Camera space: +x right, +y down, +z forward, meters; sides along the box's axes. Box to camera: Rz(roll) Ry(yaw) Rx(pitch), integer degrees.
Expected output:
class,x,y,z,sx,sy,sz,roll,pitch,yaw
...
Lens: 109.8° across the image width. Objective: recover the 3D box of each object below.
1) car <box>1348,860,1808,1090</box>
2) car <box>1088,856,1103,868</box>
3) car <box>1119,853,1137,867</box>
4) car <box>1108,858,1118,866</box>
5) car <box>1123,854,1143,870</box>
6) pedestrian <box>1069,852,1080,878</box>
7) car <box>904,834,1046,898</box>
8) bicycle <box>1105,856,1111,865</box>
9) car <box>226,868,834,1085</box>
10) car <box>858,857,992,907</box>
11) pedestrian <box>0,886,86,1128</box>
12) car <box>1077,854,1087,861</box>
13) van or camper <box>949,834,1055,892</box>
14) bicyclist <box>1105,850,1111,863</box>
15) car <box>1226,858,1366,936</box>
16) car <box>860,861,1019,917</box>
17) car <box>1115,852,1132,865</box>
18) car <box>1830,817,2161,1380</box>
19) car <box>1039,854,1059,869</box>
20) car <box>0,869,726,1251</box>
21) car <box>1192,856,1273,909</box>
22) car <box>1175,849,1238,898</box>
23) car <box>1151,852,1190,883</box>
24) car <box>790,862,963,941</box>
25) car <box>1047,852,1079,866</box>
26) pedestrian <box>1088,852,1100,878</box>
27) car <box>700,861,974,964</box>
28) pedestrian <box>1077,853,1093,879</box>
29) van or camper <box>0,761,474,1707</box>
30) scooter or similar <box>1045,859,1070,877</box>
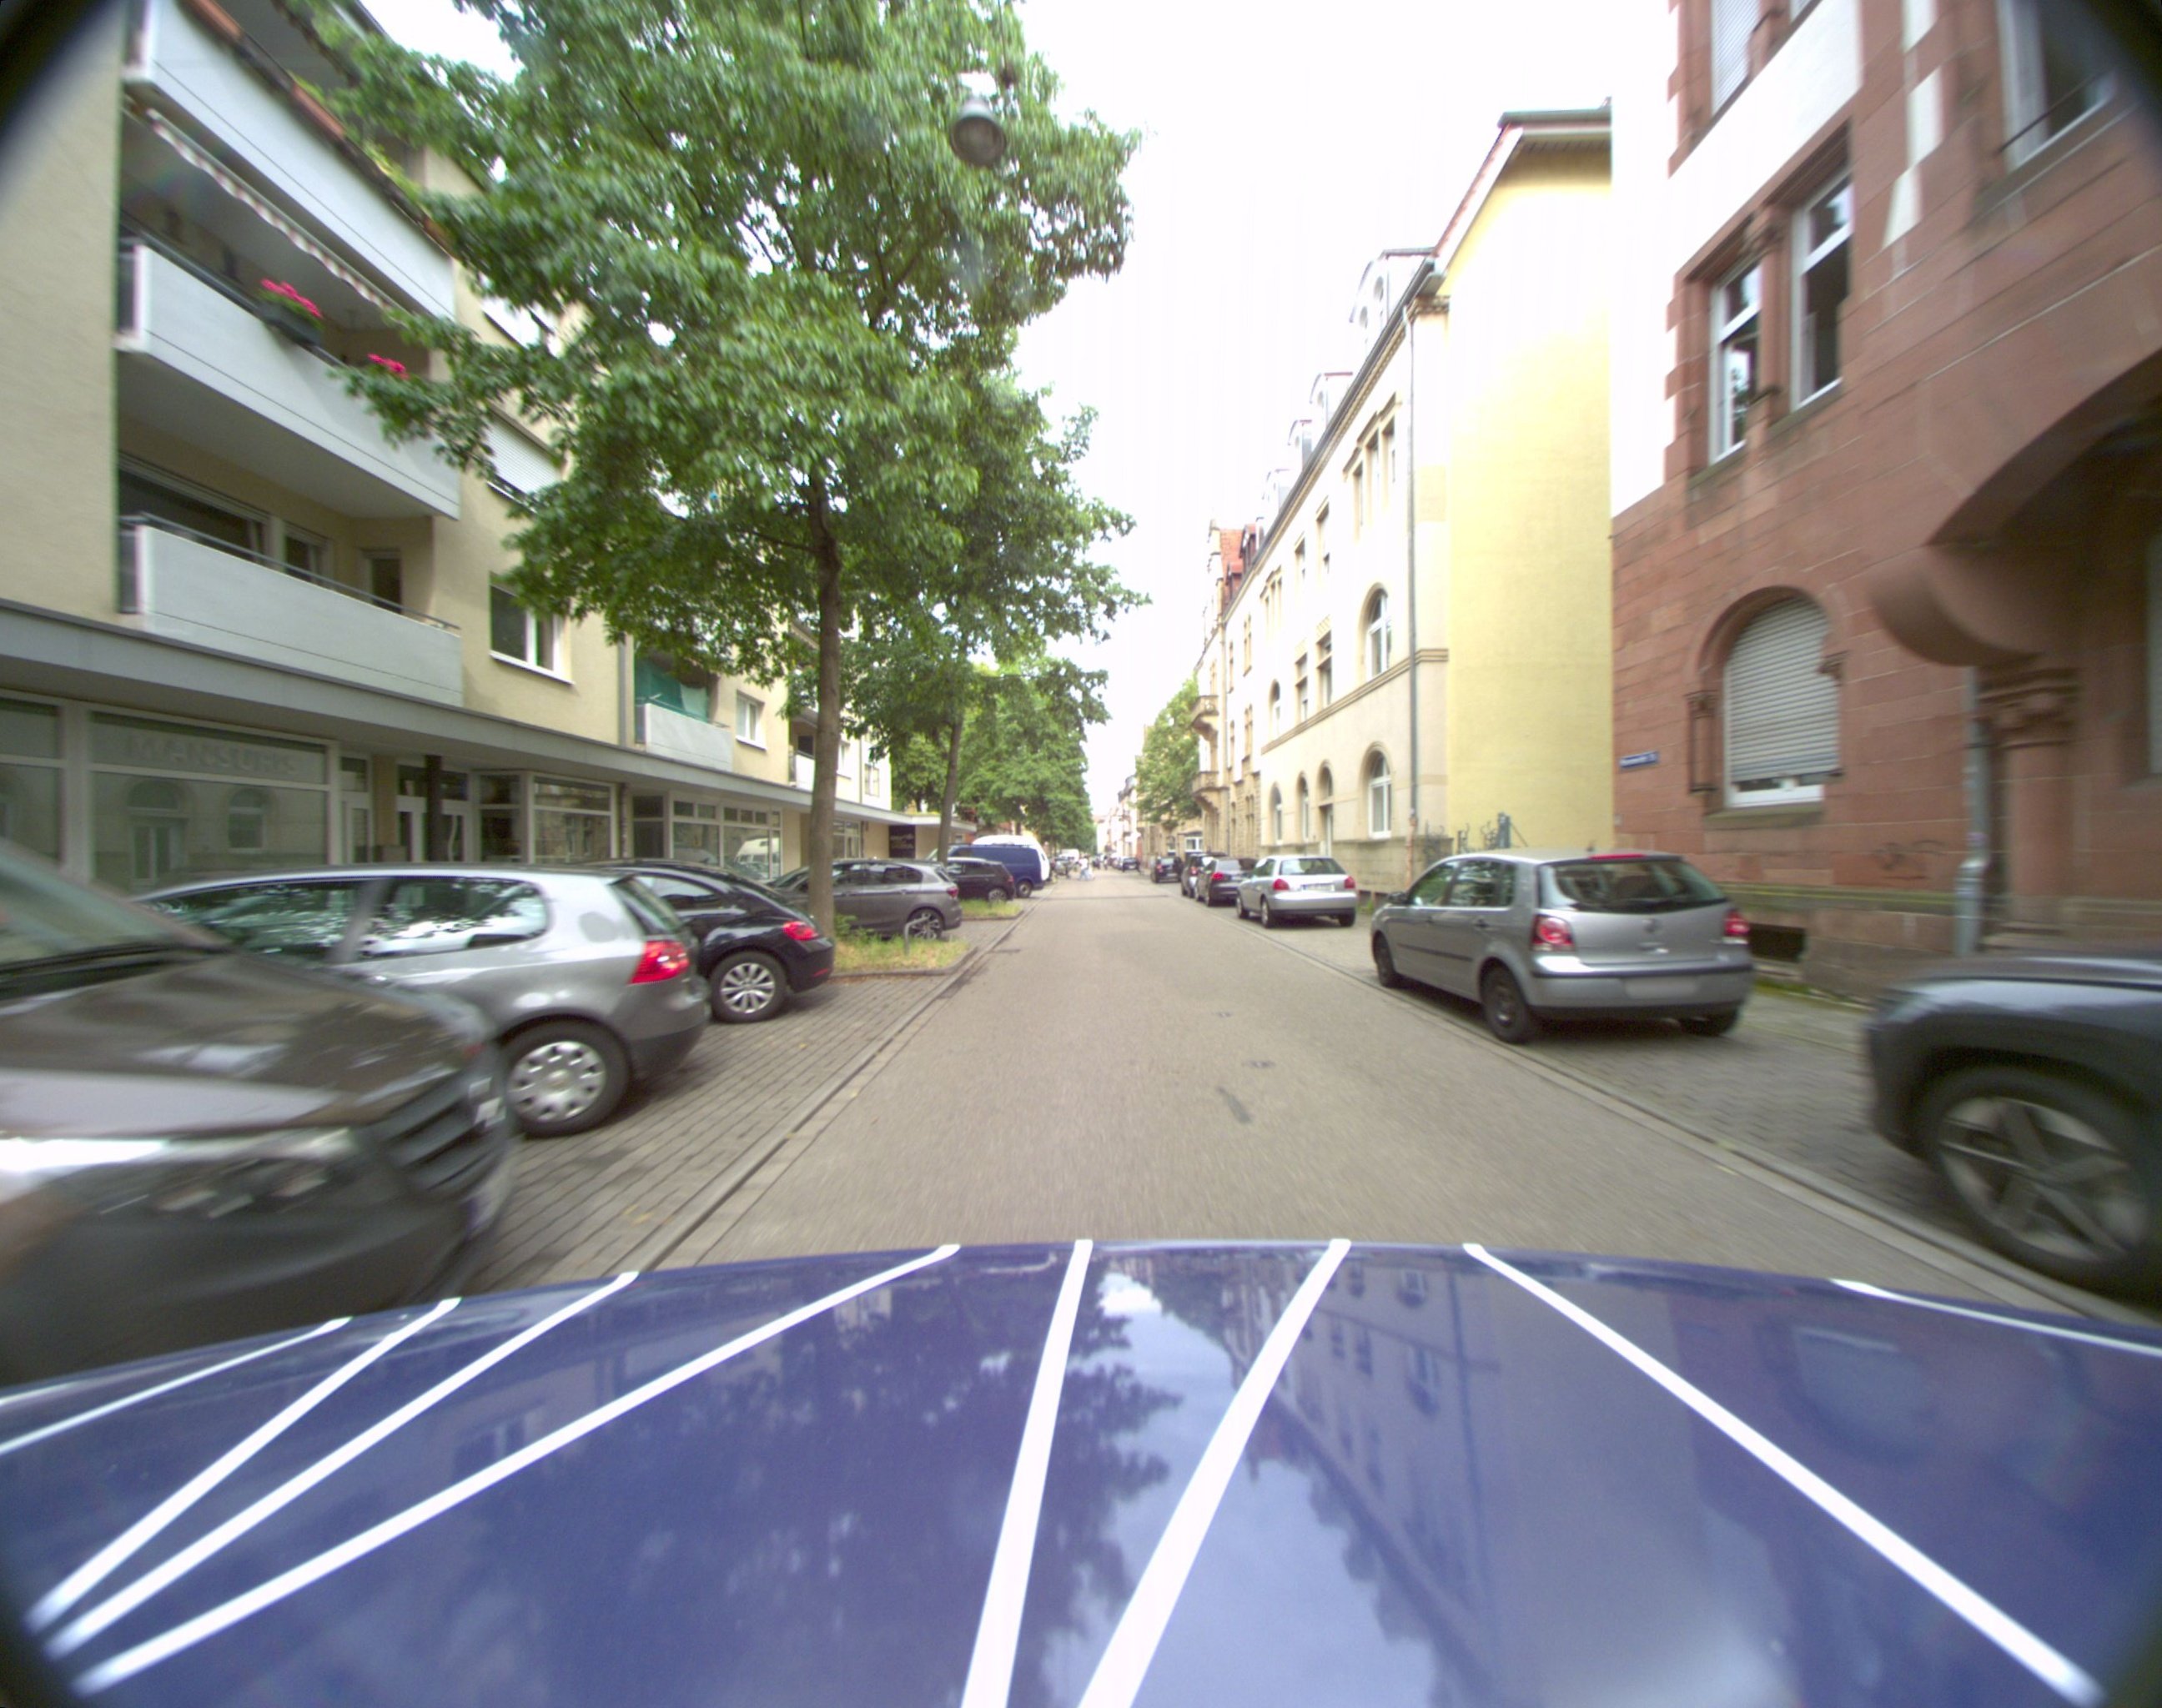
class,x,y,z,sx,sy,sz,roll,pitch,yaw
car,3.926,0.811,6.915,1.666,1.412,3.929,-2,0,2
car,1.843,1.026,95.467,1.712,1.404,3.855,0,-2,3
car,5.067,0.640,82.233,1.593,1.425,3.809,-2,0,0
car,5.768,1.423,136.047,1.610,1.463,3.342,-1,0,0
car,4.931,0.772,72.371,1.731,1.425,3.882,-2,0,3
pedestrian,-0.420,0.705,48.057,0.528,1.634,0.529,-2,1,12
car,-3.826,0.467,27.826,4.716,2.183,2.061,2,-1,-37
bicycle,3.100,0.731,86.004,0.635,1.087,1.800,0,-1,3
car,-4.500,0.889,7.020,4.057,1.475,1.944,0,1,-23
car,-5.005,0.850,24.380,3.919,1.457,1.821,0,0,-24
pedestrian,-8.148,1.123,5.552,0.626,1.732,0.849,0,1,1
car,0.266,0.919,186.236,1.998,1.739,4.001,-1,0,3
van or camper,-3.767,0.377,36.479,4.604,2.581,1.906,-2,1,-32
bicyclist,3.104,0.273,85.998,0.649,1.529,0.677,0,1,3
car,4.338,0.795,15.995,1.730,1.378,4.136,-1,0,-1
car,-4.040,0.931,21.904,4.120,1.434,1.848,0,1,-30
car,5.135,0.498,92.453,1.671,1.502,3.552,-1,0,-4
car,4.003,0.680,0.967,1.790,1.637,4.361,-2,0,1
car,-3.301,0.788,79.243,1.768,1.477,4.479,1,0,1
car,-4.136,0.863,4.235,3.867,1.493,1.909,0,1,-24
car,4.405,0.790,22.594,1.730,1.378,3.930,-2,0,2
car,4.390,0.681,26.979,1.650,1.561,2.957,-4,-1,0
car,4.797,0.690,41.264,1.713,1.486,4.000,-4,0,2
car,-4.395,0.929,16.214,3.374,1.488,1.848,0,1,-22
car,-2.428,0.722,104.339,3.993,1.801,1.722,-1,0,12
pedestrian,0.813,0.677,46.857,0.617,1.634,0.604,-1,0,13
car,-4.245,0.927,13.297,4.234,1.492,1.971,1,1,-29
pedestrian,0.239,0.739,46.292,0.630,1.584,0.671,-1,1,42
van or camper,-4.426,0.720,1.234,5.030,1.858,2.122,1,1,-27
scooter or similar,-1.514,0.887,48.301,1.471,1.098,0.676,1,1,12
